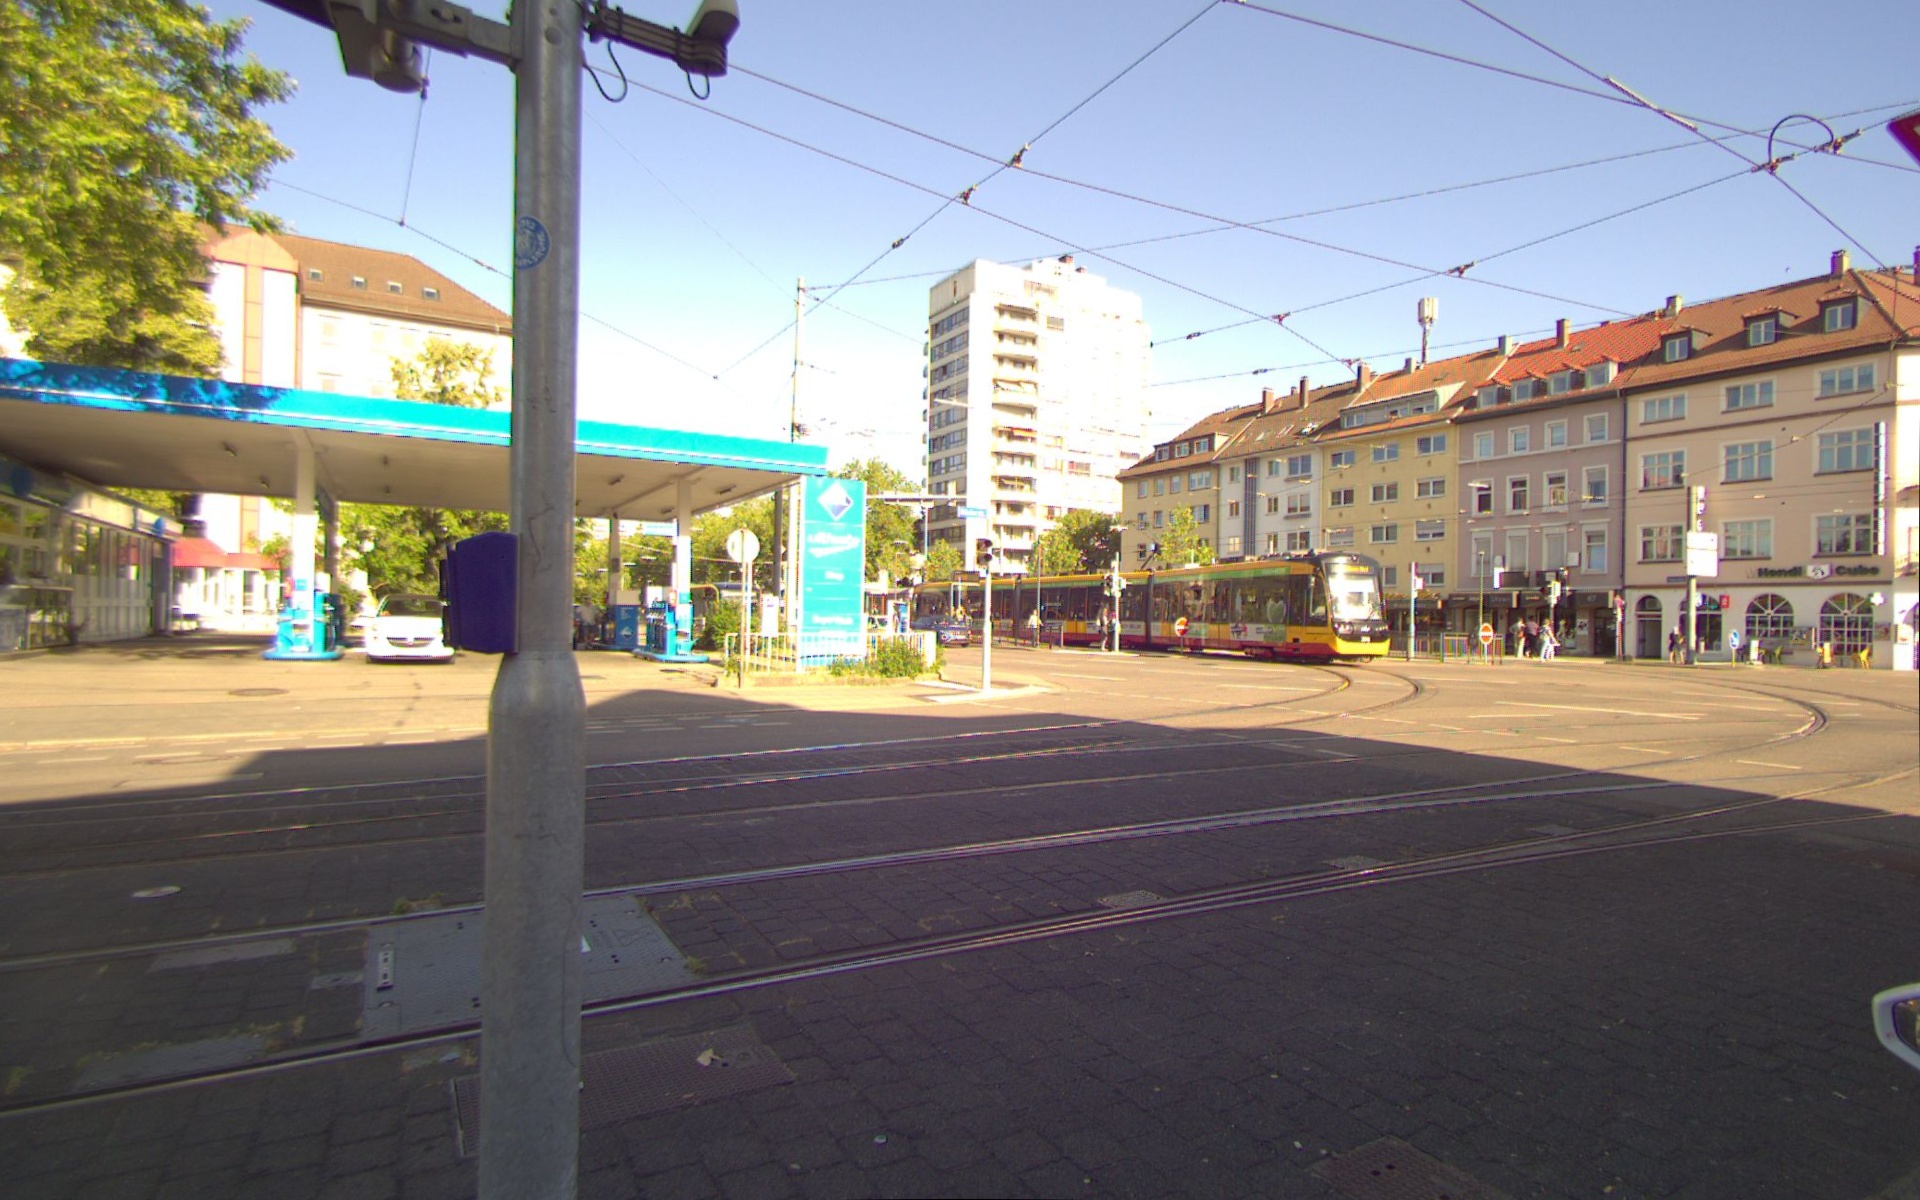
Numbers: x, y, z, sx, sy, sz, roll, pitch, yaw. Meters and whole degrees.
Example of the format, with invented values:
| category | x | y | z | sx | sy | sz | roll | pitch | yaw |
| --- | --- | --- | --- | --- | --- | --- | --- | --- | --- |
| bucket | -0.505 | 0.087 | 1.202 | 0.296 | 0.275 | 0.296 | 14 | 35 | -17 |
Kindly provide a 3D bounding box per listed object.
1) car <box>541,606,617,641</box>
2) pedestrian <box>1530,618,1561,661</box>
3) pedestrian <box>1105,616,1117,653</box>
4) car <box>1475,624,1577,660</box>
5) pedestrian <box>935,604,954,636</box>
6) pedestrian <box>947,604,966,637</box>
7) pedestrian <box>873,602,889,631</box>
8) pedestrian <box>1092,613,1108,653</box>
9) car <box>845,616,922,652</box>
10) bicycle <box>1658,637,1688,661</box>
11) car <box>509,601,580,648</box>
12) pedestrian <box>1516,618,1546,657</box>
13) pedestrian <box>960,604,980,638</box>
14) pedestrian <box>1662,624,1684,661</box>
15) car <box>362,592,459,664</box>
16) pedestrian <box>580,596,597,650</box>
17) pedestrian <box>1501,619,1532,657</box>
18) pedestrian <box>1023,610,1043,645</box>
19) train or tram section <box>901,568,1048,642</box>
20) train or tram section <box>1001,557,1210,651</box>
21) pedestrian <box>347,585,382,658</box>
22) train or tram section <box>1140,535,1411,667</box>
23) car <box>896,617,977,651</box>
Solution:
| category | x | y | z | sx | sy | sz | roll | pitch | yaw |
| --- | --- | --- | --- | --- | --- | --- | --- | --- | --- |
| car | -16.862 | 1.040 | 44.599 | 1.722 | 1.461 | 3.572 | 1 | -1 | 5 |
| pedestrian | 22.560 | 1.513 | 38.713 | 0.817 | 1.598 | 0.552 | 2 | 0 | -2 |
| pedestrian | 6.151 | 1.404 | 40.963 | 0.472 | 1.525 | 0.462 | 0 | 0 | 6 |
| car | 30.824 | 2.291 | 54.841 | 2.277 | 1.734 | 4.350 | 2 | 0 | -27 |
| pedestrian | -0.818 | 1.071 | 54.229 | 0.747 | 1.756 | 0.797 | 0 | 0 | -28 |
| pedestrian | -0.184 | 1.091 | 54.453 | 0.747 | 1.756 | 0.797 | 0 | 0 | -28 |
| pedestrian | -4.864 | 1.012 | 62.139 | 0.747 | 1.756 | 0.797 | 0 | 0 | -28 |
| pedestrian | 5.854 | 1.391 | 41.963 | 0.626 | 1.666 | 0.462 | 0 | 0 | 6 |
| car | -3.589 | 1.551 | 46.735 | 1.871 | 1.550 | 3.963 | 1 | -1 | -33 |
| bicycle | 34.030 | 2.325 | 47.938 | 1.479 | 1.091 | 0.570 | 2 | 0 | -30 |
| car | -13.550 | 0.782 | 32.674 | 1.737 | 1.461 | 3.543 | 1 | -1 | -29 |
| pedestrian | 23.685 | 1.560 | 41.674 | 0.821 | 1.598 | 0.724 | 2 | 0 | -20 |
| pedestrian | 0.506 | 1.101 | 52.299 | 0.747 | 1.756 | 0.797 | 0 | 0 | -28 |
| pedestrian | 34.039 | 2.027 | 47.937 | 0.743 | 1.692 | 0.579 | 2 | 0 | -30 |
| car | -12.199 | 0.602 | 22.348 | 1.737 | 1.461 | 3.543 | 1 | -1 | -29 |
| pedestrian | -12.133 | 0.745 | 32.785 | 0.492 | 1.724 | 0.498 | 1 | -1 | -20 |
| pedestrian | 24.420 | 1.668 | 44.077 | 0.821 | 1.598 | 0.847 | 2 | 0 | -20 |
| pedestrian | 3.393 | 1.281 | 46.837 | 0.607 | 1.598 | 0.827 | 0 | 0 | -27 |
| train or tram section | 0.508 | 0.322 | 58.435 | 2.906 | 3.864 | 12.027 | 1 | -1 | -29 |
| train or tram section | 6.404 | 0.257 | 47.675 | 2.905 | 3.864 | 12.728 | 1 | -1 | -28 |
| pedestrian | -14.184 | 0.514 | 23.930 | 0.640 | 1.724 | 0.497 | 1 | -1 | -26 |
| train or tram section | 10.565 | 0.123 | 36.135 | 2.892 | 3.864 | 13.016 | 1 | -1 | -14 |
| car | -1.162 | 1.615 | 48.364 | 1.875 | 1.550 | 3.955 | 1 | -2 | -39 |
